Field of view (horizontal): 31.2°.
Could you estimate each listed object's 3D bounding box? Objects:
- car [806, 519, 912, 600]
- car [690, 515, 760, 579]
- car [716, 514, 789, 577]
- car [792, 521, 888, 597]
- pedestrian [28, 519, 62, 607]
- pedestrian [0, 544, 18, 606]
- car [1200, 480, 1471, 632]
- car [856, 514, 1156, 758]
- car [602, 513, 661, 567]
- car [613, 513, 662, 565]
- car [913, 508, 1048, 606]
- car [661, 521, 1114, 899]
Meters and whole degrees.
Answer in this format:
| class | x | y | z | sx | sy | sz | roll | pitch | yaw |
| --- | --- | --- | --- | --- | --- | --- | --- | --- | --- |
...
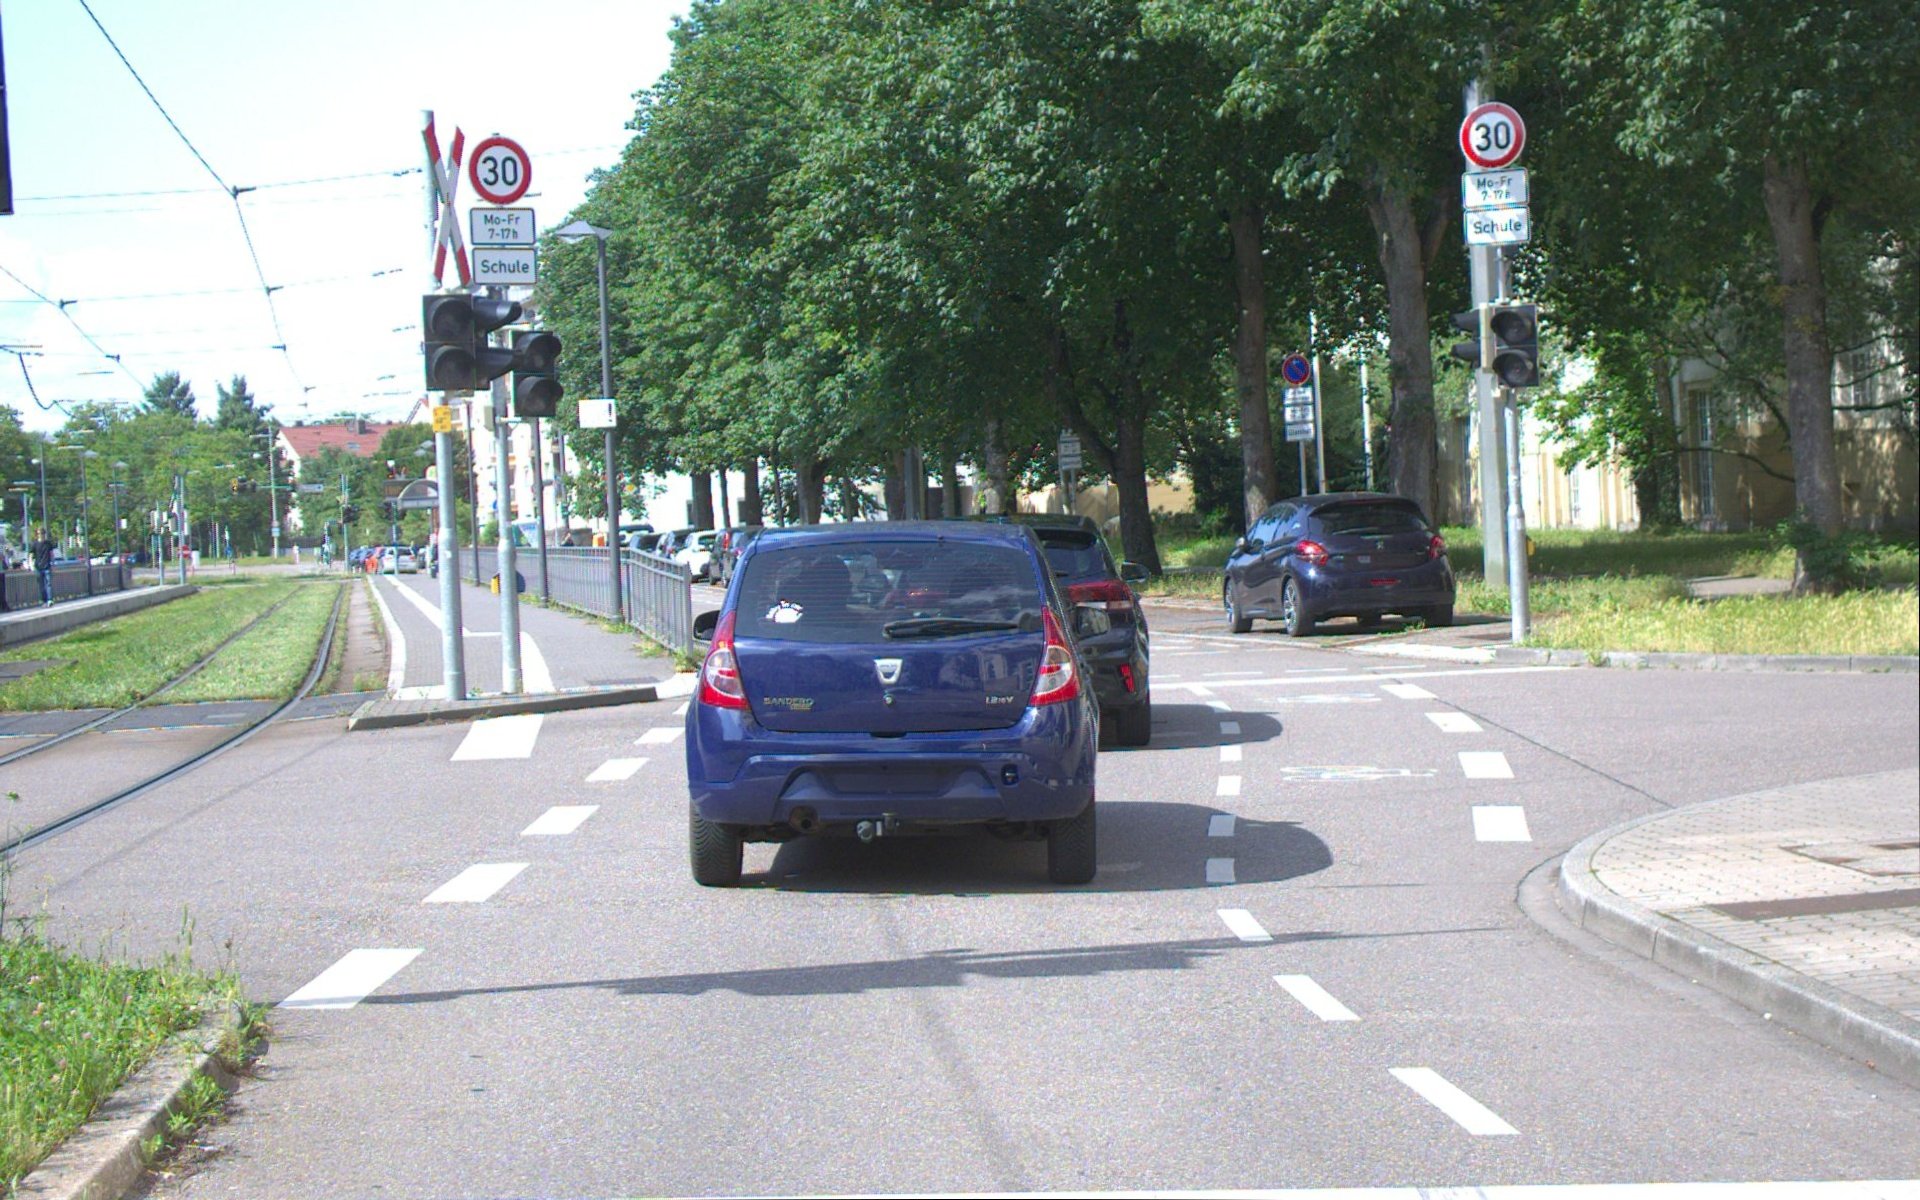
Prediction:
| class | x | y | z | sx | sy | sz | roll | pitch | yaw |
| --- | --- | --- | --- | --- | --- | --- | --- | --- | --- |
| car | -2.057 | -0.839 | 68.727 | 1.861 | 1.440 | 4.001 | -4 | 2 | -4 |
| car | -6.808 | -1.536 | 99.478 | 1.617 | 1.744 | 4.001 | -3 | 1 | -9 |
| car | -5.524 | -1.466 | 91.228 | 1.827 | 1.532 | 4.001 | -3 | 2 | -4 |
| car | -2.578 | -0.897 | 73.357 | 1.851 | 1.510 | 4.001 | -3 | 1 | -4 |
| pedestrian | -21.410 | -0.870 | 80.441 | 0.660 | 2.006 | 0.804 | -3 | 1 | -14 |
| pedestrian | -22.585 | -0.559 | 80.089 | 1.028 | 1.432 | 0.703 | -5 | 2 | -24 |
| car | 3.919 | -0.475 | 36.528 | 1.765 | 1.428 | 3.905 | -4 | 2 | -10 |
| car | 0.222 | 0.168 | 22.222 | 1.700 | 1.363 | 3.515 | -2 | 2 | -2 |
| car | -11.281 | -2.086 | 118.171 | 1.830 | 1.755 | 4.001 | -3 | 1 | -4 |
| car | -11.664 | -2.226 | 124.276 | 1.667 | 1.765 | 4.001 | -3 | 1 | -5 |
| car | 0.311 | -0.736 | 57.394 | 1.861 | 1.440 | 4.001 | -4 | 2 | -4 |
| car | -0.324 | 0.394 | 15.517 | 1.768 | 1.457 | 3.776 | -1 | 1 | -1 |
